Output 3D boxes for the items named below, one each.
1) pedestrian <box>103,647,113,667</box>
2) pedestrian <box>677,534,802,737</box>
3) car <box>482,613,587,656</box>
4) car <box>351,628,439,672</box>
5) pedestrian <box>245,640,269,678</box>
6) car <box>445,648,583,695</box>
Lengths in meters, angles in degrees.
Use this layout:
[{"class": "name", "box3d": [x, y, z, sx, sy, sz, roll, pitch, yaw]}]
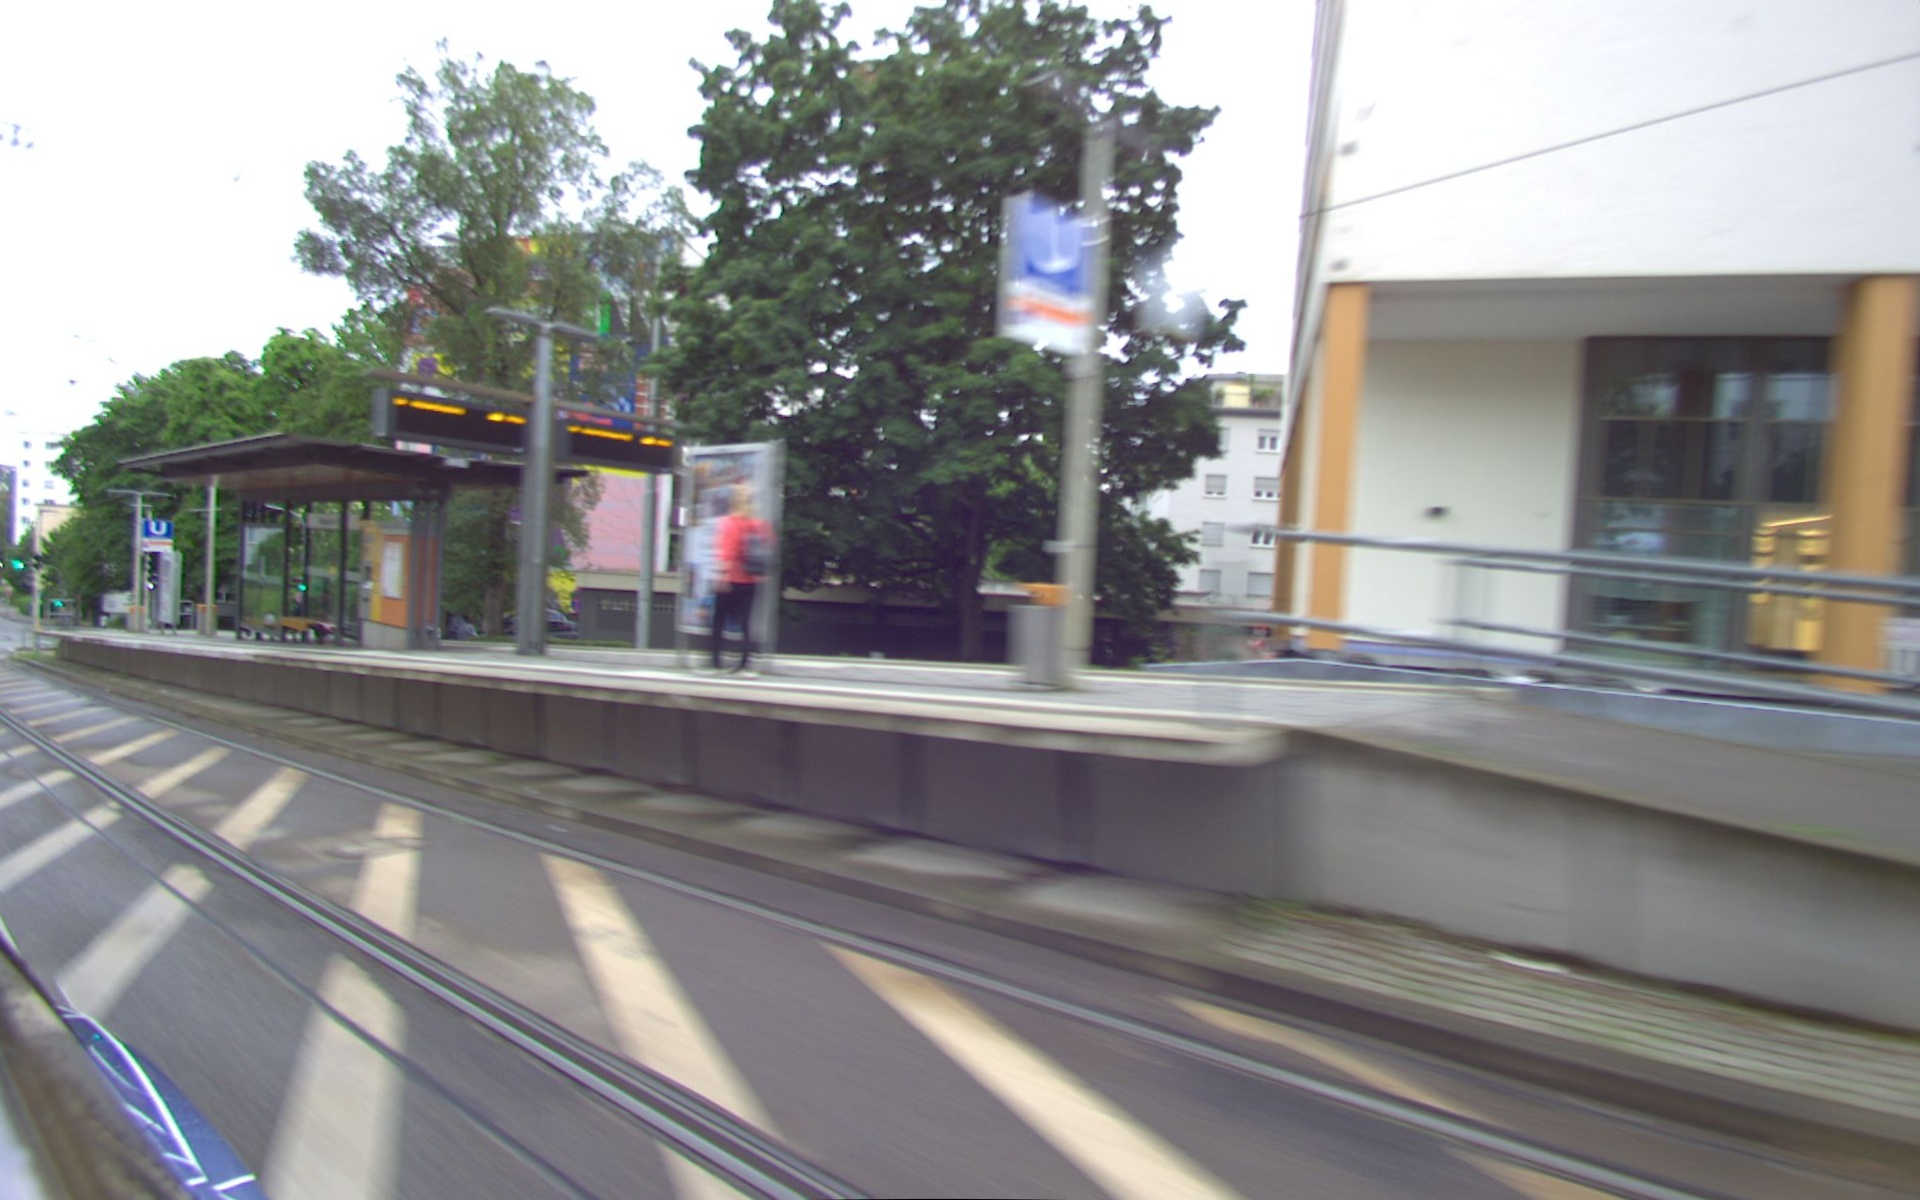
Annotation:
[{"class": "pedestrian", "box3d": [-64.749, 4.343, 76.937, 0.529, 1.437, 0.522, -1, -1, 44]}, {"class": "pedestrian", "box3d": [-1.804, 0.292, 8.291, 0.771, 1.560, 0.664, -2, -3, 41]}, {"class": "car", "box3d": [-18.564, 1.481, 44.195, 3.914, 1.650, 1.704, 3, -1, 13]}, {"class": "car", "box3d": [-23.430, 2.048, 41.921, 4.439, 1.730, 1.728, -2, -3, 41]}, {"class": "pedestrian", "box3d": [-30.875, 2.566, 44.438, 0.617, 1.605, 0.744, -1, -1, 44]}, {"class": "car", "box3d": [-16.116, 2.527, 36.582, 4.416, 1.554, 1.951, 1, -2, -28]}]
